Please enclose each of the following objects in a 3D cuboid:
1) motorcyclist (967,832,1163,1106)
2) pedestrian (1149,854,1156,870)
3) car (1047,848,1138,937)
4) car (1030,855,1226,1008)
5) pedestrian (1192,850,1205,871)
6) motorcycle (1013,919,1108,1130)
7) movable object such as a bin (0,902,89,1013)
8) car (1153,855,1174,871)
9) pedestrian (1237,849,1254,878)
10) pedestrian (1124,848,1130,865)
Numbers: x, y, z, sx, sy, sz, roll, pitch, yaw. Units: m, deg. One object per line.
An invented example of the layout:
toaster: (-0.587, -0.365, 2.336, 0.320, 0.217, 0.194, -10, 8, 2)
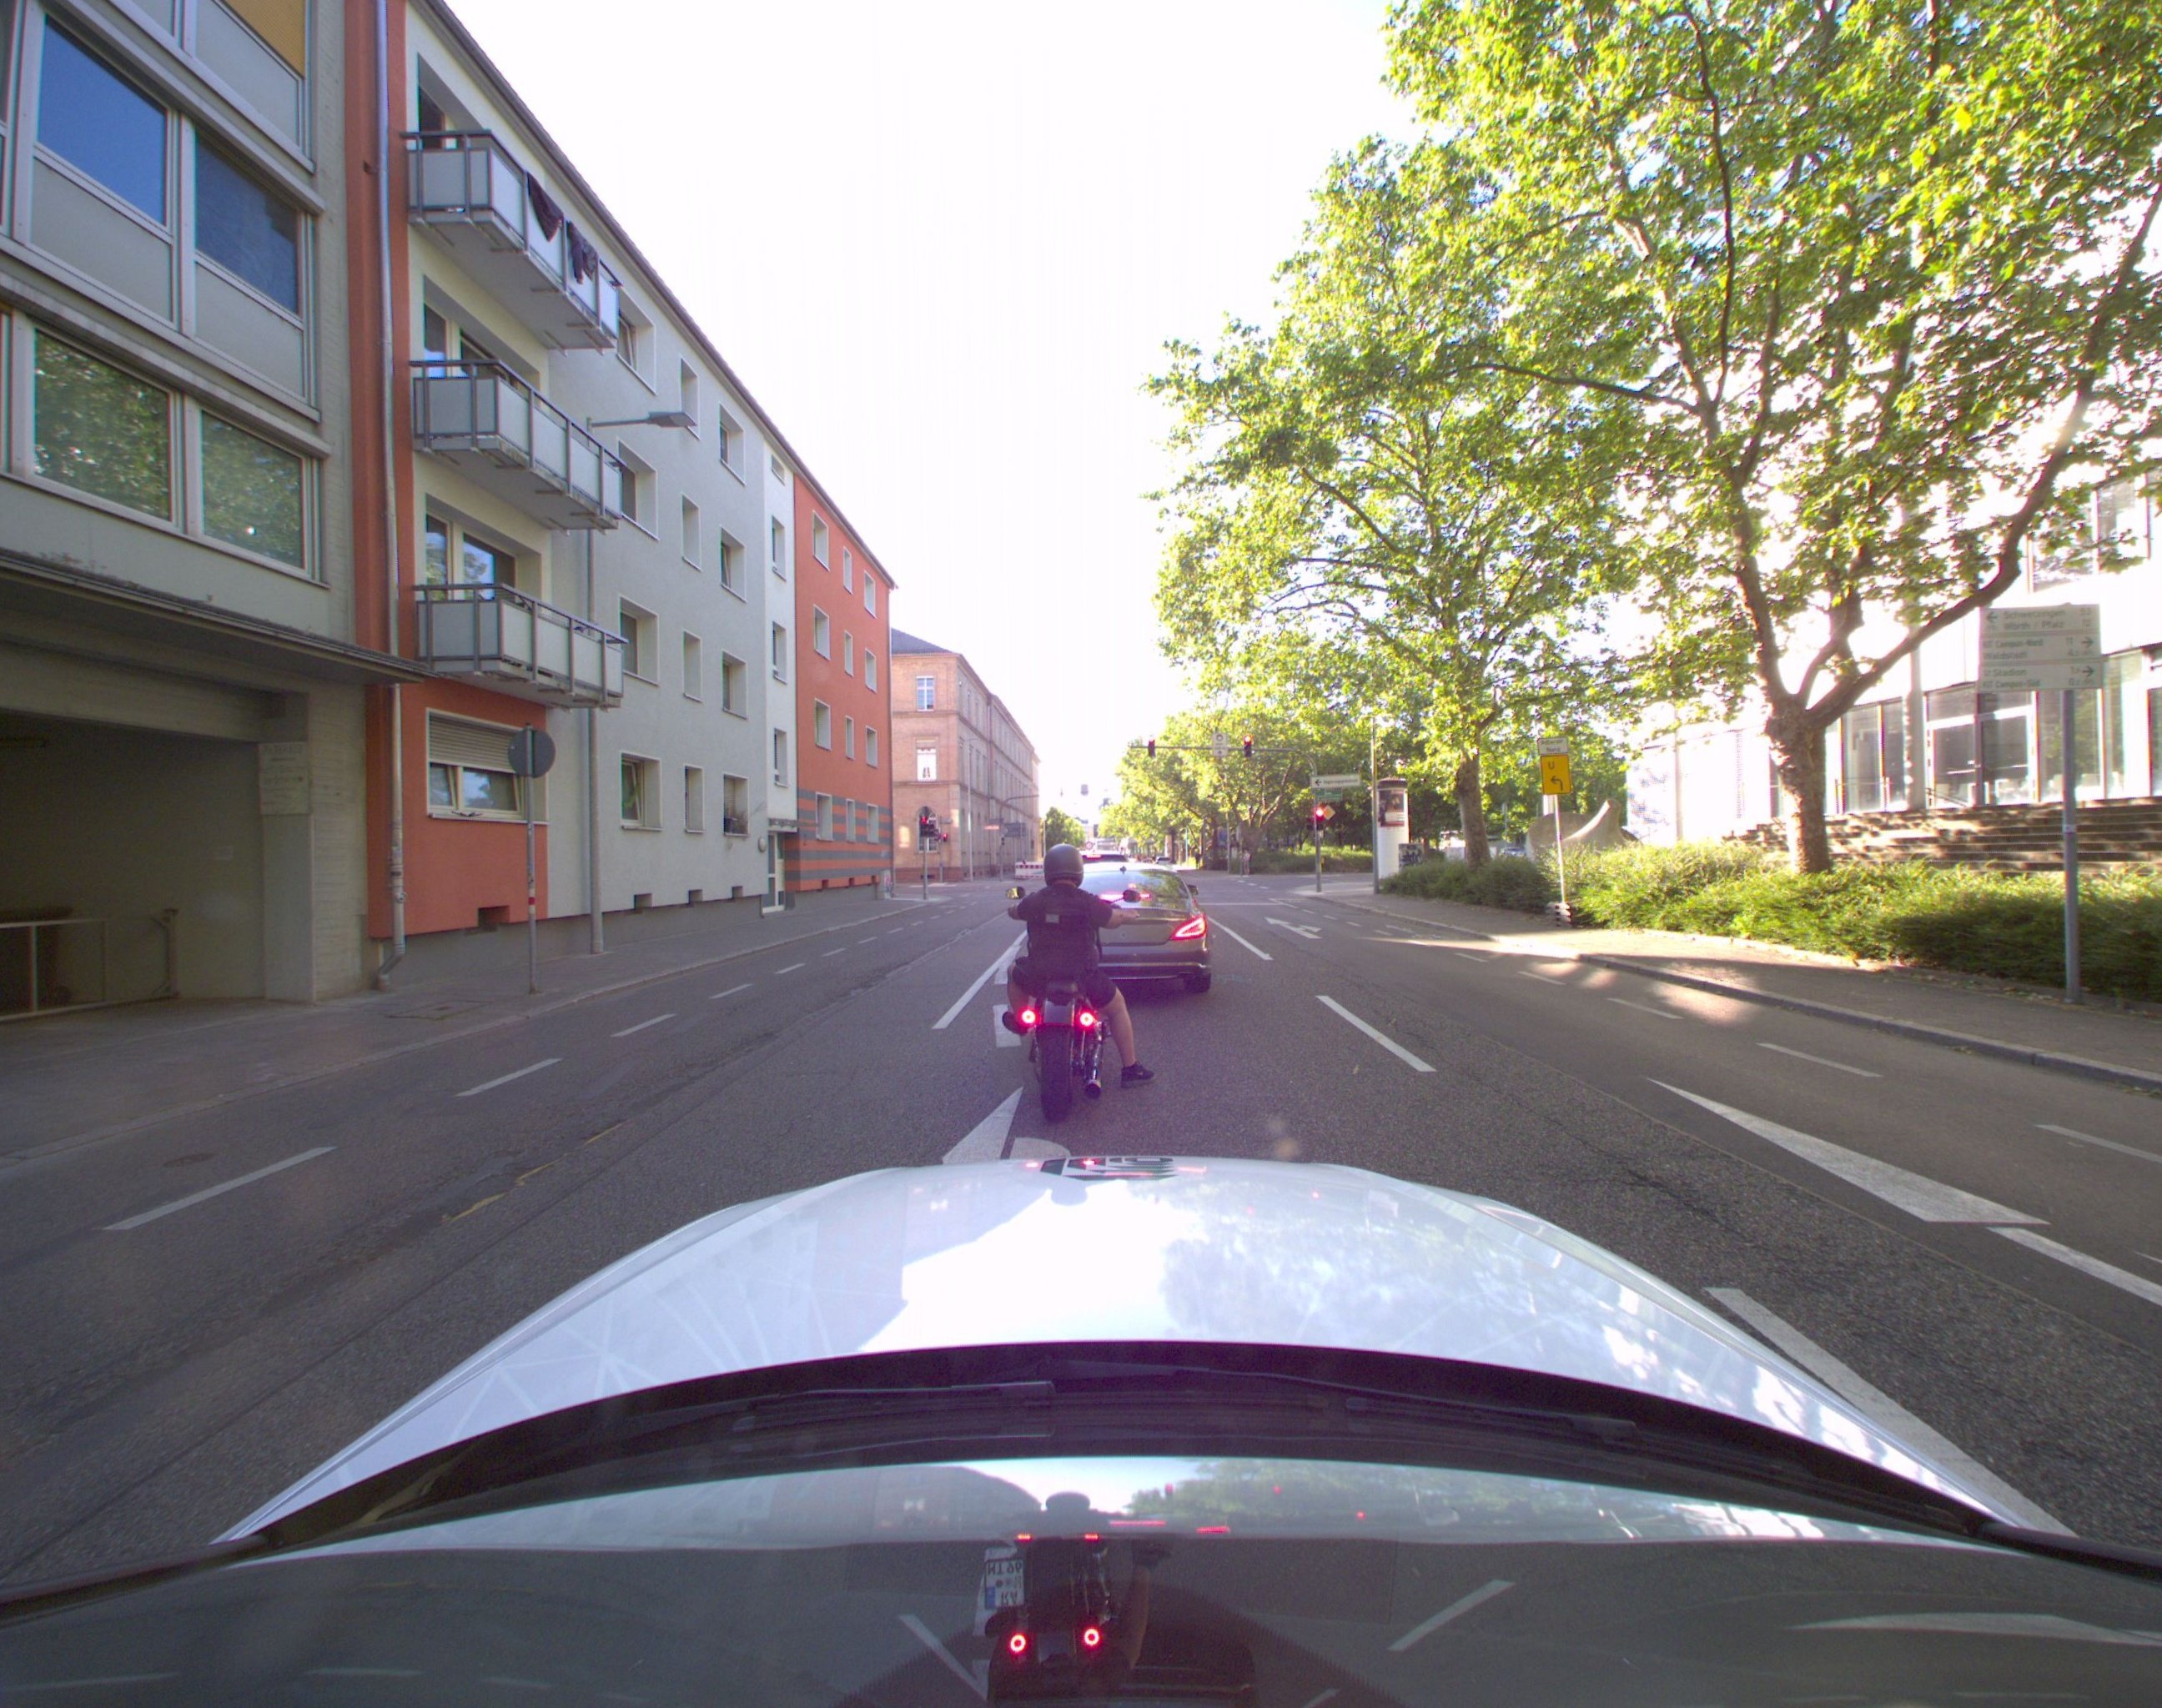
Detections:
motorcyclist: (-0.075, 0.679, 5.426, 1.145, 1.598, 1.288, 0, -1, 1)
pedestrian: (8.938, 0.959, 101.562, 0.811, 2.014, 1.271, 0, -1, 2)
car: (0.273, 0.700, 16.875, 1.615, 1.594, 4.002, -1, 0, 2)
car: (0.514, 0.746, 9.747, 1.875, 1.449, 3.821, 0, 0, 2)
pedestrian: (10.532, 0.592, 73.277, 0.753, 1.910, 0.918, 0, -1, -26)
motorcycle: (-0.080, 1.012, 5.449, 0.511, 1.002, 2.014, 0, -1, 2)
movable object such as a bin: (-11.260, 1.073, 8.651, 0.626, 1.100, 0.659, 0, -1, 4)
car: (7.949, 0.879, 78.687, 1.769, 1.428, 3.804, -1, 0, 2)
pedestrian: (10.674, 0.624, 52.952, 0.996, 1.826, 1.078, 0, -1, 8)
pedestrian: (5.707, 0.280, 100.930, 0.761, 2.051, 0.712, 0, -1, 1)
